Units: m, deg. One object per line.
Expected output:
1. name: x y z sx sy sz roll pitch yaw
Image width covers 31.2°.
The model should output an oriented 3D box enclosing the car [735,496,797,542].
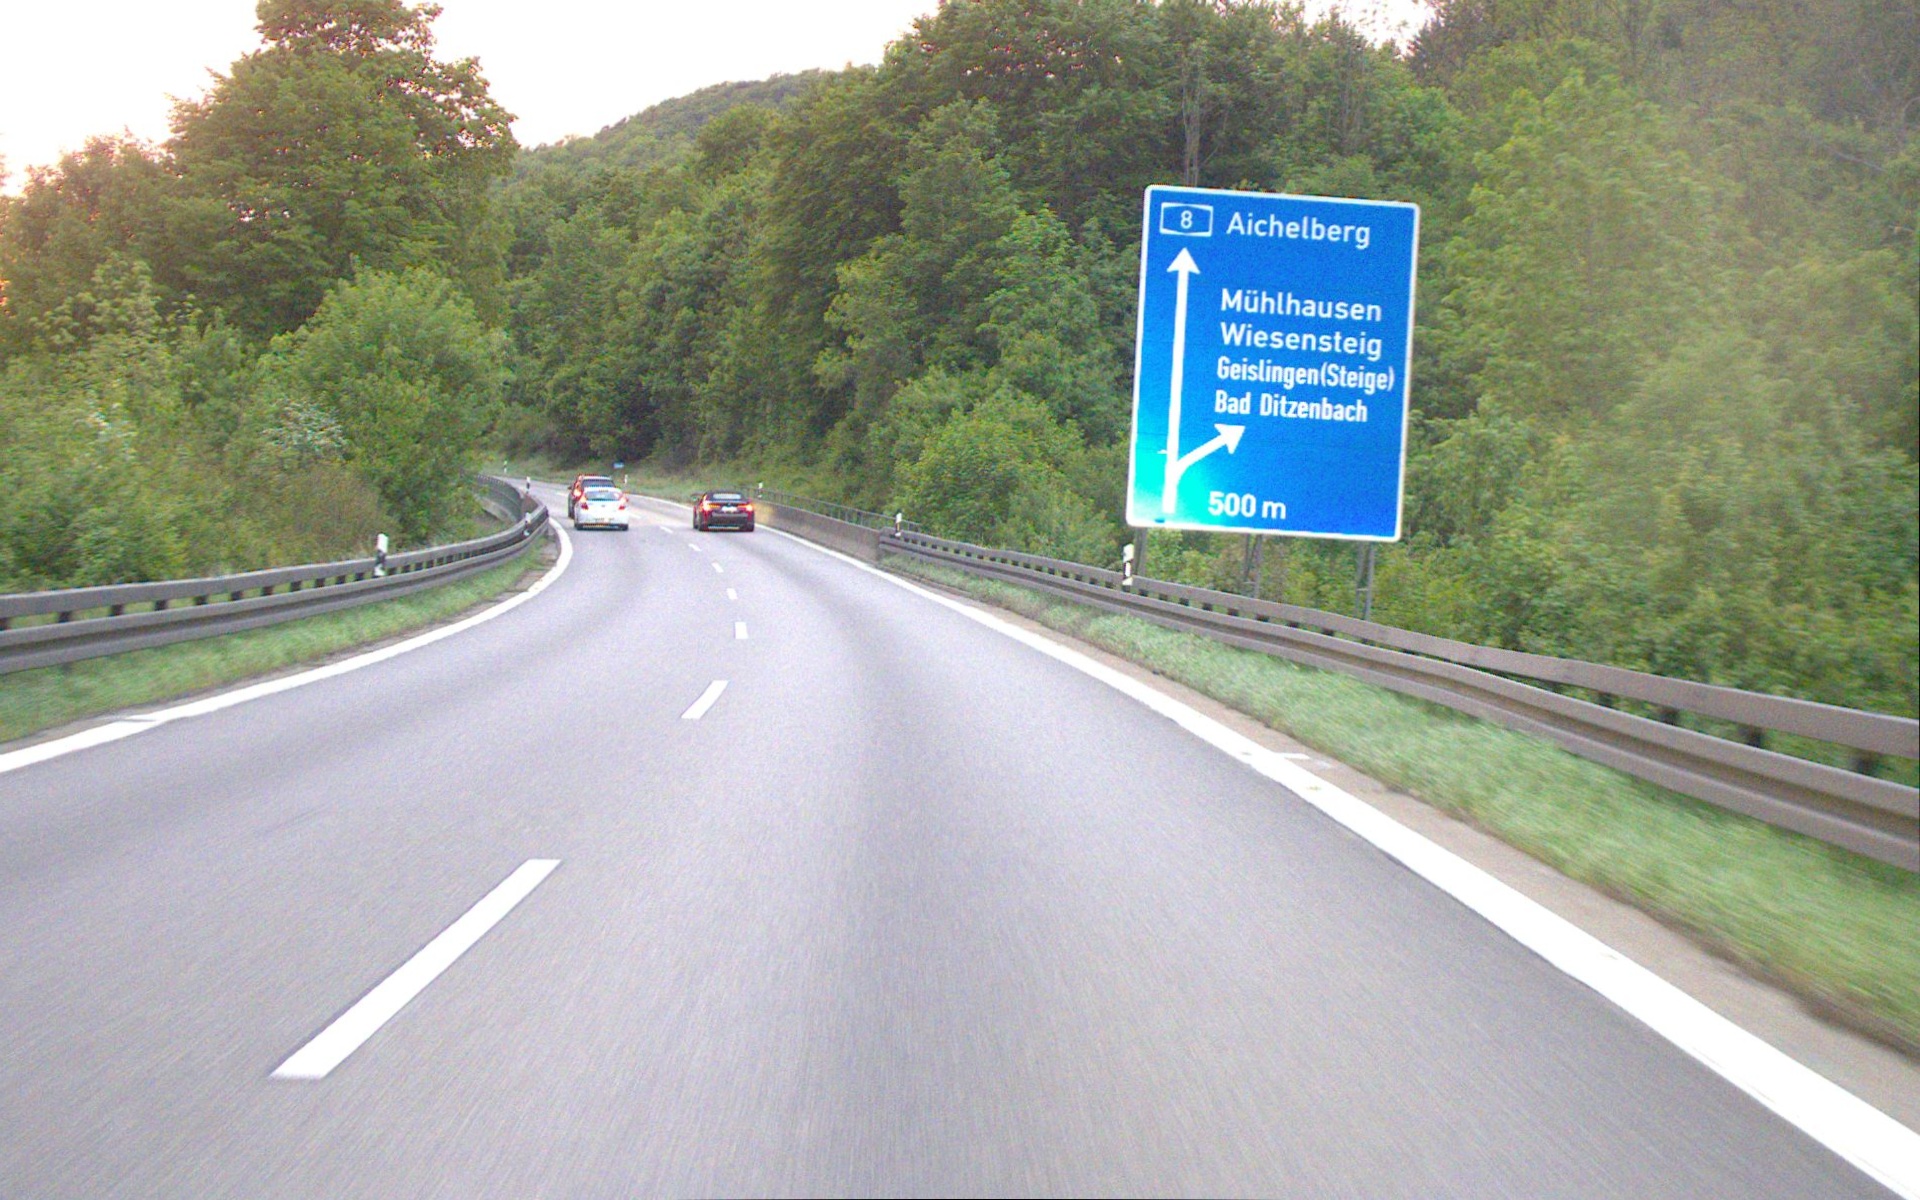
1. car: -6.696 -2.791 119.037 1.878 1.461 4.000 -3 1 0

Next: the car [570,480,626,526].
1. car: -12.441 -3.325 118.320 1.718 1.496 4.001 2 1 -4
